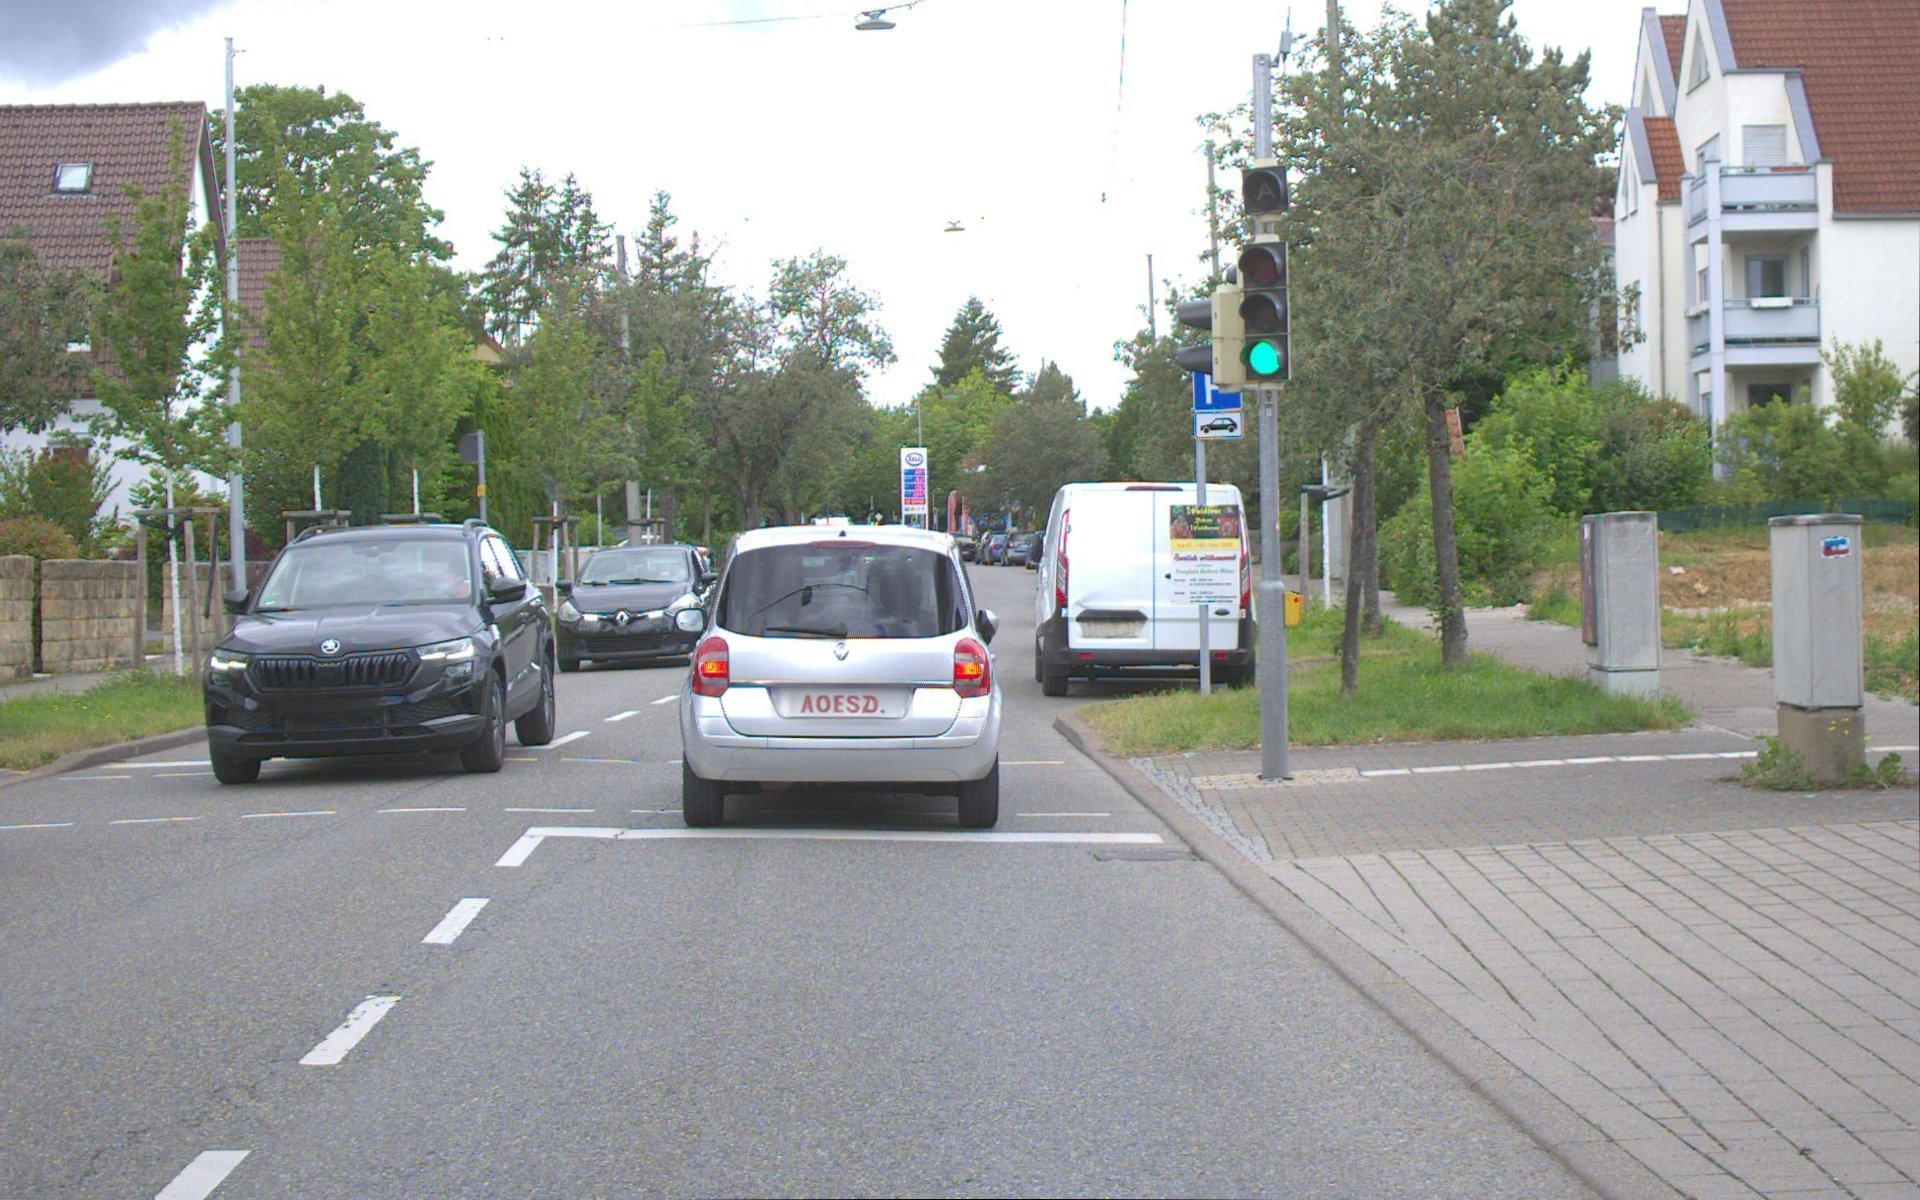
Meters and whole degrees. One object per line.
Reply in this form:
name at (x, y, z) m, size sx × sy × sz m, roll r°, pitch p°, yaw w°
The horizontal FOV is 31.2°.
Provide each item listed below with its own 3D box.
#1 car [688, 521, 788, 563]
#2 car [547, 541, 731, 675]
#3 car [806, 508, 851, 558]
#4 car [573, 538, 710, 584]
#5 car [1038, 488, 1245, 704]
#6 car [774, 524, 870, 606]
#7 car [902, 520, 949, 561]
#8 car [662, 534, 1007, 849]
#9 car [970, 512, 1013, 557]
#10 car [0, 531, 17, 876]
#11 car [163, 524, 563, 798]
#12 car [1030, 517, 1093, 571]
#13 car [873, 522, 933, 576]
car at (-9.506, -2.498, 147.455) m, size 4.086 × 1.700 × 1.747 m, roll -1°, pitch 1°, yaw 1°
car at (-3.782, 0.059, 41.025) m, size 1.616 × 1.467 × 4.000 m, roll -1°, pitch 1°, yaw 3°
car at (-7.150, -3.636, 187.774) m, size 2.073 × 2.573 × 5.300 m, roll -3°, pitch 1°, yaw 0°
car at (-10.121, -1.230, 109.229) m, size 4.277 × 1.363 × 1.816 m, roll 1°, pitch 1°, yaw -5°
car at (1.677, -0.082, 33.221) m, size 1.775 × 1.937 × 4.789 m, roll 0°, pitch 1°, yaw 0°
car at (-3.004, -0.789, 75.558) m, size 1.814 × 1.687 × 4.466 m, roll -2°, pitch 1°, yaw 1°
car at (-1.514, -2.631, 151.033) m, size 1.835 × 1.708 × 4.001 m, roll -2°, pitch 1°, yaw -3°
car at (-0.606, 0.425, 18.950) m, size 1.679 × 1.554 × 3.512 m, roll 1°, pitch 1°, yaw 1°
car at (2.033, -4.248, 223.561) m, size 2.281 × 2.901 × 5.280 m, roll 0°, pitch 1°, yaw -4°
car at (-6.409, 0.562, 14.587) m, size 1.996 × 1.615 × 4.641 m, roll -1°, pitch 1°, yaw 27°
car at (-3.853, 0.326, 22.857) m, size 1.895 × 1.619 × 4.000 m, roll -1°, pitch 1°, yaw 1°
car at (3.416, -1.903, 116.357) m, size 1.799 × 1.772 × 4.706 m, roll 0°, pitch 1°, yaw -3°
car at (-1.925, -1.738, 117.099) m, size 1.795 × 1.746 × 4.298 m, roll -2°, pitch 1°, yaw 2°
